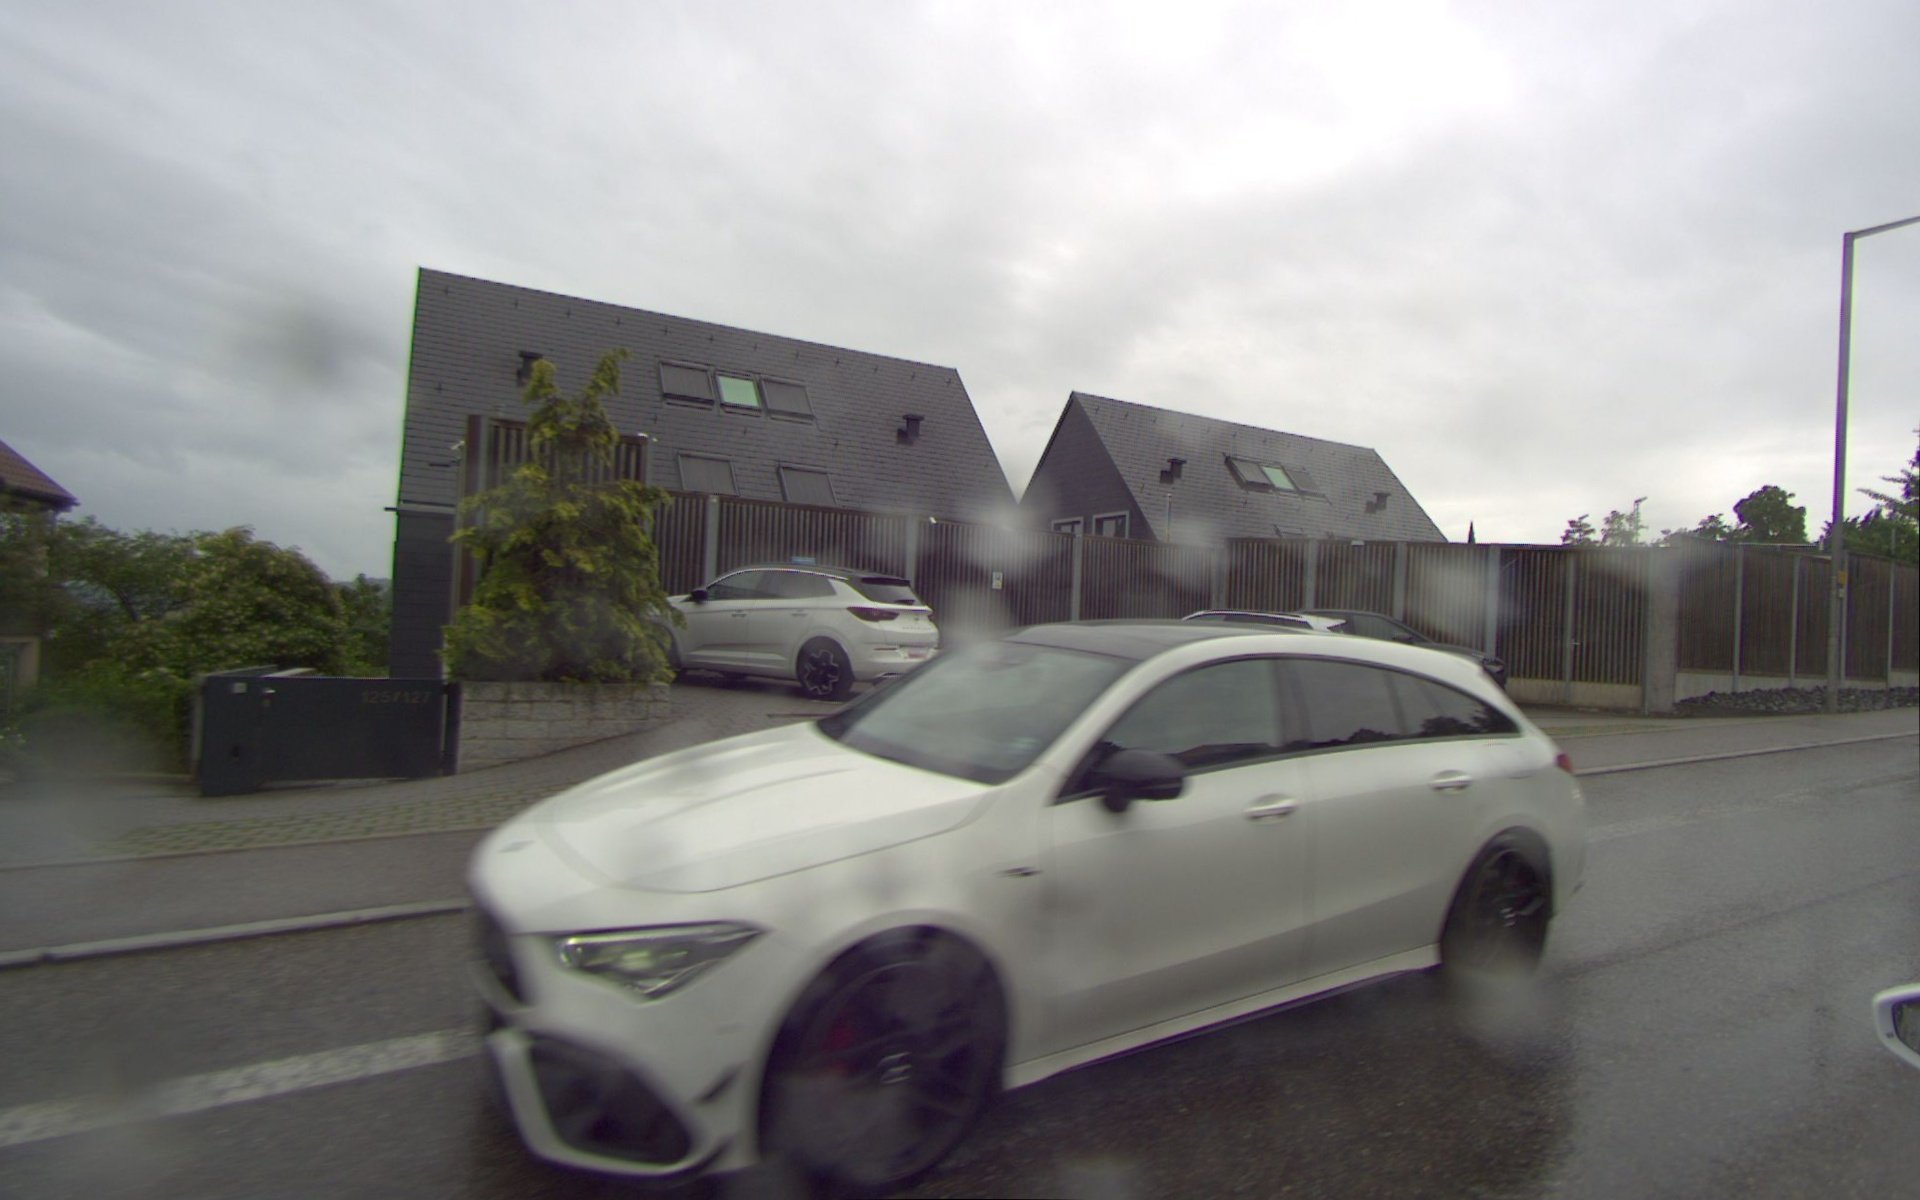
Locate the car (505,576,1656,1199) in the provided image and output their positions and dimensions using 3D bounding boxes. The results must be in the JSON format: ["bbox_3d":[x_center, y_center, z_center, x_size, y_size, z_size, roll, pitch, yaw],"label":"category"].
[{"bbox_3d":[0.624,0.726,3.937,4.218,1.480,1.838,2,0,-30],"label":"car"}]

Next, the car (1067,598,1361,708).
[{"bbox_3d":[4.178,0.796,16.611,4.445,1.461,1.761,3,1,21],"label":"car"}]

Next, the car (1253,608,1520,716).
[{"bbox_3d":[7.636,1.034,18.199,4.213,1.622,1.836,2,0,26],"label":"car"}]

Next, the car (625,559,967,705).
[{"bbox_3d":[-2.133,0.339,13.070,3.982,1.595,1.941,2,0,26],"label":"car"}]
